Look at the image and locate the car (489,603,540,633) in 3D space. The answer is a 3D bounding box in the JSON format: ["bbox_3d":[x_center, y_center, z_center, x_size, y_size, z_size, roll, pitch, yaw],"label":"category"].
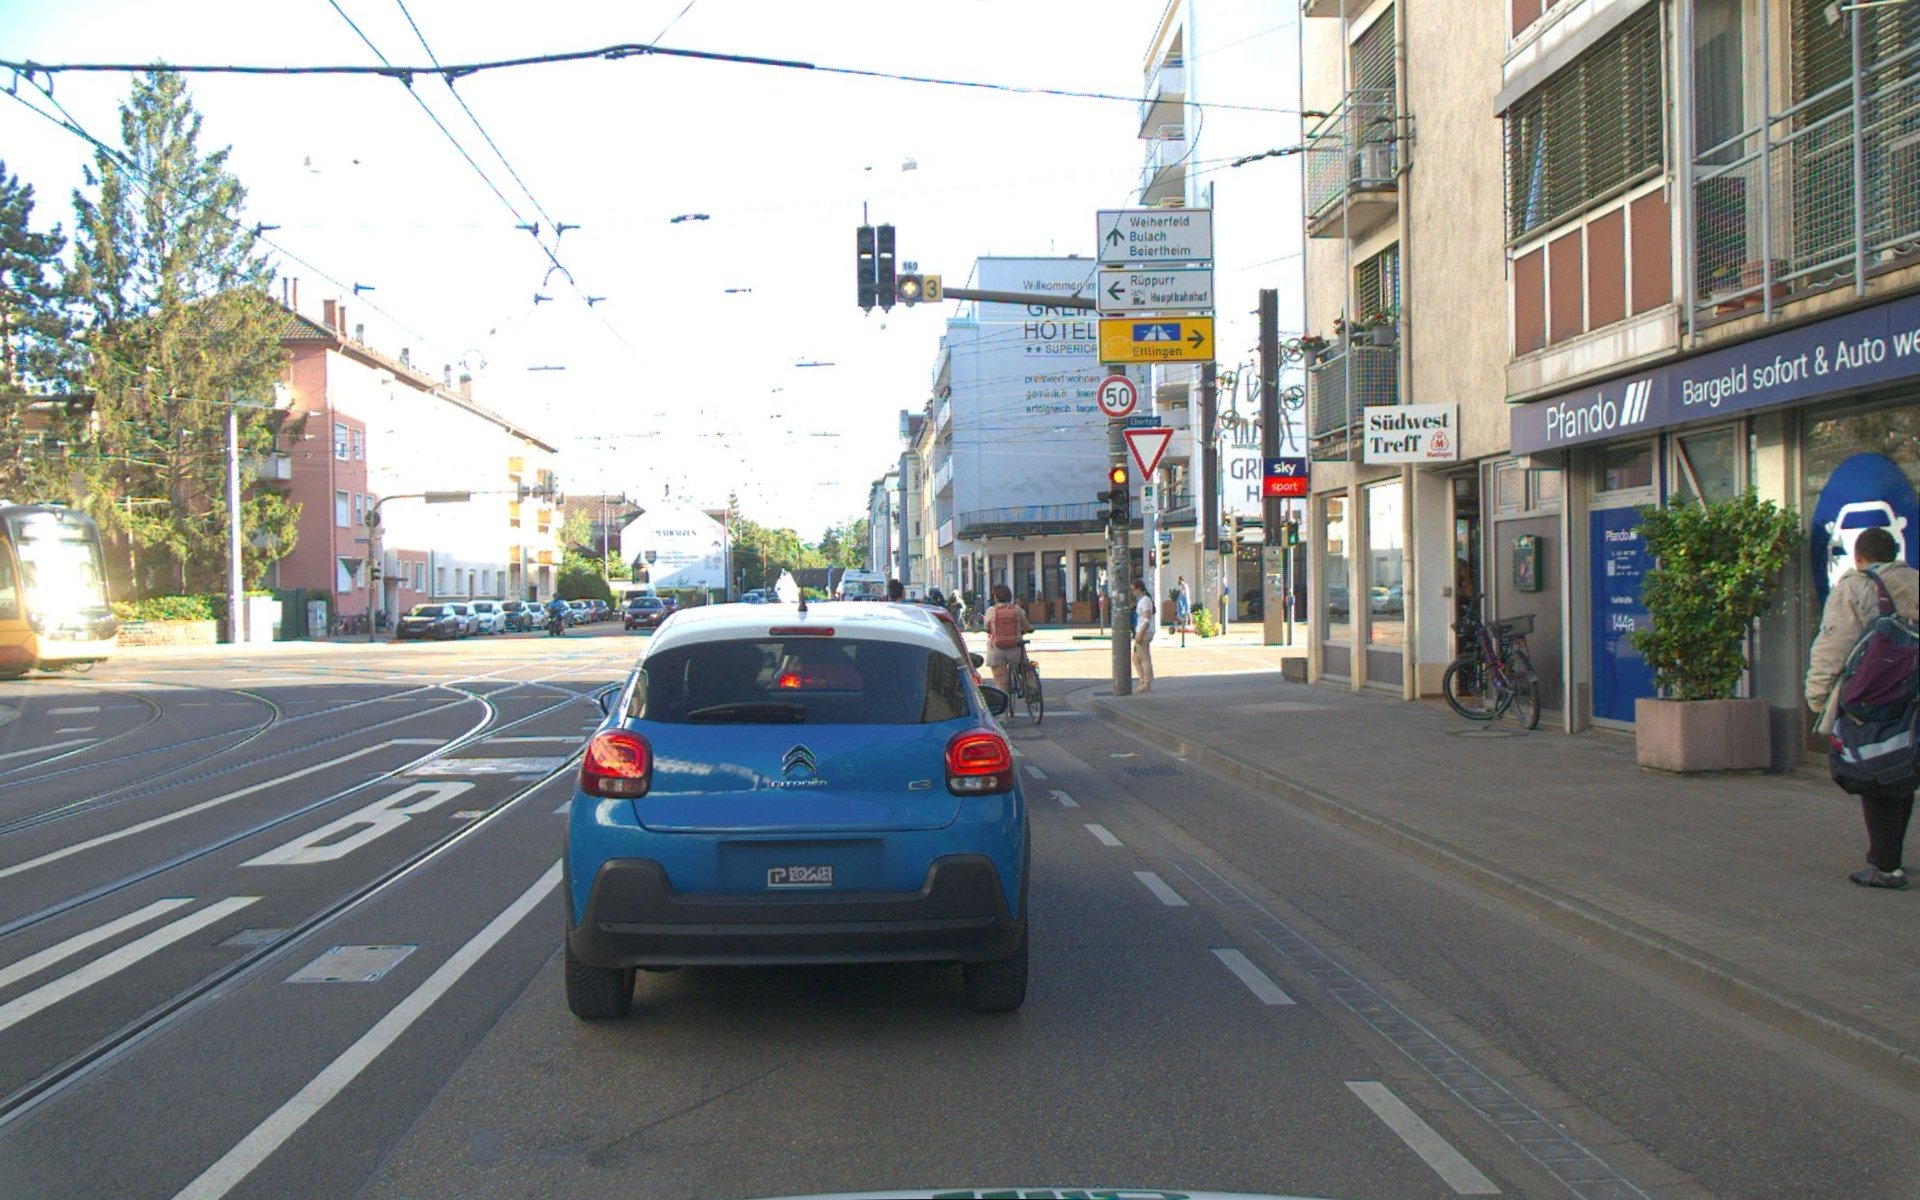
[{"bbox_3d":[-23.070,0.912,85.741,1.750,1.524,3.997,1,0,-4],"label":"car"}]

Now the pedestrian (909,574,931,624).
[{"bbox_3d":[-1.670,-0.040,69.119,0.625,2.049,0.715,1,-1,-36],"label":"pedestrian"}]

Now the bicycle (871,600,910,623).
[{"bbox_3d":[-2.925,0.481,69.425,1.751,0.917,0.365,1,-1,34],"label":"bicycle"}]

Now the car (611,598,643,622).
[{"bbox_3d":[-24.327,0.709,120.894,1.809,1.716,3.871,1,0,-4],"label":"car"}]

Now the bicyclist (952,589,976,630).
[{"bbox_3d":[0.146,0.349,61.926,0.730,1.503,0.563,1,-1,18],"label":"bicyclist"}]

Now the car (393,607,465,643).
[{"bbox_3d":[-21.923,1.011,68.459,1.757,1.446,3.994,1,0,-2],"label":"car"}]

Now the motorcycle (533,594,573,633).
[{"bbox_3d":[-16.359,0.532,66.557,0.905,1.512,3.723,1,0,-4],"label":"motorcycle"}]

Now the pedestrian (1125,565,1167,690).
[{"bbox_3d":[2.732,0.398,24.304,0.507,1.814,0.595,1,-1,-3],"label":"pedestrian"}]

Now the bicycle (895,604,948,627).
[{"bbox_3d":[-1.576,0.632,67.555,2.093,0.917,0.366,1,-1,-10],"label":"bicycle"}]

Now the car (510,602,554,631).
[{"bbox_3d":[-23.744,0.918,91.838,1.699,1.524,3.996,1,0,-5],"label":"car"}]

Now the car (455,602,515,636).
[{"bbox_3d":[-22.630,0.884,78.981,1.751,1.537,4.148,1,0,-2],"label":"car"}]

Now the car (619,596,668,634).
[{"bbox_3d":[-14.543,0.690,76.202,1.740,1.695,3.853,1,0,-4],"label":"car"}]

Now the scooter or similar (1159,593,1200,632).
[{"bbox_3d":[7.576,0.441,57.025,1.322,1.291,0.443,-2,-1,2],"label":"scooter or similar"}]

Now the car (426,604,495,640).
[{"bbox_3d":[-22.212,0.958,73.697,1.778,1.524,4.299,1,0,-1],"label":"car"}]

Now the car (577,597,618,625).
[{"bbox_3d":[-23.152,0.701,105.783,1.944,1.716,3.997,1,0,-4],"label":"car"}]

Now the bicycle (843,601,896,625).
[{"bbox_3d":[-3.612,0.530,66.244,2.093,0.917,0.366,1,-1,-10],"label":"bicycle"}]

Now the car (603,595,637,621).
[{"bbox_3d":[-23.895,0.563,116.266,1.797,1.716,3.997,1,0,-4],"label":"car"}]

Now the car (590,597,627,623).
[{"bbox_3d":[-23.547,0.681,110.968,1.845,1.716,3.997,1,0,-4],"label":"car"}]

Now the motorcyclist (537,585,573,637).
[{"bbox_3d":[-16.381,0.446,66.963,1.162,2.049,1.274,-1,0,-4],"label":"motorcyclist"}]

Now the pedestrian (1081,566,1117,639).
[{"bbox_3d":[3.936,0.073,46.977,0.907,2.049,0.759,1,-1,-1],"label":"pedestrian"}]

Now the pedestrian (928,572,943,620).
[{"bbox_3d":[-1.033,-0.163,70.201,0.565,2.049,0.625,1,-1,-3],"label":"pedestrian"}]

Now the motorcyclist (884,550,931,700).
[{"bbox_3d":[-0.612,0.293,19.608,0.516,1.746,0.717,1,-1,-1],"label":"motorcyclist"}]

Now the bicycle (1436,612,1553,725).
[{"bbox_3d":[5.077,0.625,15.809,0.531,1.016,1.705,1,0,-1],"label":"bicycle"}]

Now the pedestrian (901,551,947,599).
[{"bbox_3d":[-1.600,-1.080,73.527,1.953,2.049,3.999,1,0,-1],"label":"pedestrian"}]

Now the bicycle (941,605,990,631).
[{"bbox_3d":[0.212,0.681,61.882,1.814,0.919,0.350,1,-1,19],"label":"bicycle"}]

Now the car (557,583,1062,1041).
[{"bbox_3d":[-0.513,0.702,7.156,1.620,1.469,3.522,1,0,-1],"label":"car"}]

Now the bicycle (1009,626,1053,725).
[{"bbox_3d":[0.866,0.910,20.599,0.419,1.142,1.998,1,0,-1],"label":"bicycle"}]

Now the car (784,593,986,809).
[{"bbox_3d":[-0.551,0.720,13.146,1.395,1.493,2.923,-1,0,-1],"label":"car"}]

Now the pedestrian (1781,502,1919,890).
[{"bbox_3d":[4.229,0.408,7.311,0.808,1.620,0.751,1,-1,-1],"label":"pedestrian"}]

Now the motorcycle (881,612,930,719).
[{"bbox_3d":[-0.621,0.734,19.418,0.515,1.159,2.289,1,0,-1],"label":"motorcycle"}]

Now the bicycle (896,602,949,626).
[{"bbox_3d":[-1.520,0.570,67.130,2.093,0.917,0.366,1,-1,-10],"label":"bicycle"}]

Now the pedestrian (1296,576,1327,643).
[{"bbox_3d":[8.711,0.237,41.003,0.720,1.629,0.749,1,-1,12],"label":"pedestrian"}]

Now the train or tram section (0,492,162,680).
[{"bbox_3d":[-23.117,-0.203,35.958,12.335,3.656,3.071,-1,0,24],"label":"train or tram section"}]

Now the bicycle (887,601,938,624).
[{"bbox_3d":[-1.954,0.505,68.241,2.093,0.917,0.366,1,-1,-10],"label":"bicycle"}]

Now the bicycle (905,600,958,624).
[{"bbox_3d":[-1.140,0.485,66.031,2.093,0.917,0.366,1,-1,-10],"label":"bicycle"}]

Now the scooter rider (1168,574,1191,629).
[{"bbox_3d":[7.565,0.058,57.001,0.707,1.864,0.717,-1,0,2],"label":"scooter rider"}]

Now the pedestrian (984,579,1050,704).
[{"bbox_3d":[0.690,0.502,20.215,0.761,1.486,0.681,1,-1,-1],"label":"pedestrian"}]
